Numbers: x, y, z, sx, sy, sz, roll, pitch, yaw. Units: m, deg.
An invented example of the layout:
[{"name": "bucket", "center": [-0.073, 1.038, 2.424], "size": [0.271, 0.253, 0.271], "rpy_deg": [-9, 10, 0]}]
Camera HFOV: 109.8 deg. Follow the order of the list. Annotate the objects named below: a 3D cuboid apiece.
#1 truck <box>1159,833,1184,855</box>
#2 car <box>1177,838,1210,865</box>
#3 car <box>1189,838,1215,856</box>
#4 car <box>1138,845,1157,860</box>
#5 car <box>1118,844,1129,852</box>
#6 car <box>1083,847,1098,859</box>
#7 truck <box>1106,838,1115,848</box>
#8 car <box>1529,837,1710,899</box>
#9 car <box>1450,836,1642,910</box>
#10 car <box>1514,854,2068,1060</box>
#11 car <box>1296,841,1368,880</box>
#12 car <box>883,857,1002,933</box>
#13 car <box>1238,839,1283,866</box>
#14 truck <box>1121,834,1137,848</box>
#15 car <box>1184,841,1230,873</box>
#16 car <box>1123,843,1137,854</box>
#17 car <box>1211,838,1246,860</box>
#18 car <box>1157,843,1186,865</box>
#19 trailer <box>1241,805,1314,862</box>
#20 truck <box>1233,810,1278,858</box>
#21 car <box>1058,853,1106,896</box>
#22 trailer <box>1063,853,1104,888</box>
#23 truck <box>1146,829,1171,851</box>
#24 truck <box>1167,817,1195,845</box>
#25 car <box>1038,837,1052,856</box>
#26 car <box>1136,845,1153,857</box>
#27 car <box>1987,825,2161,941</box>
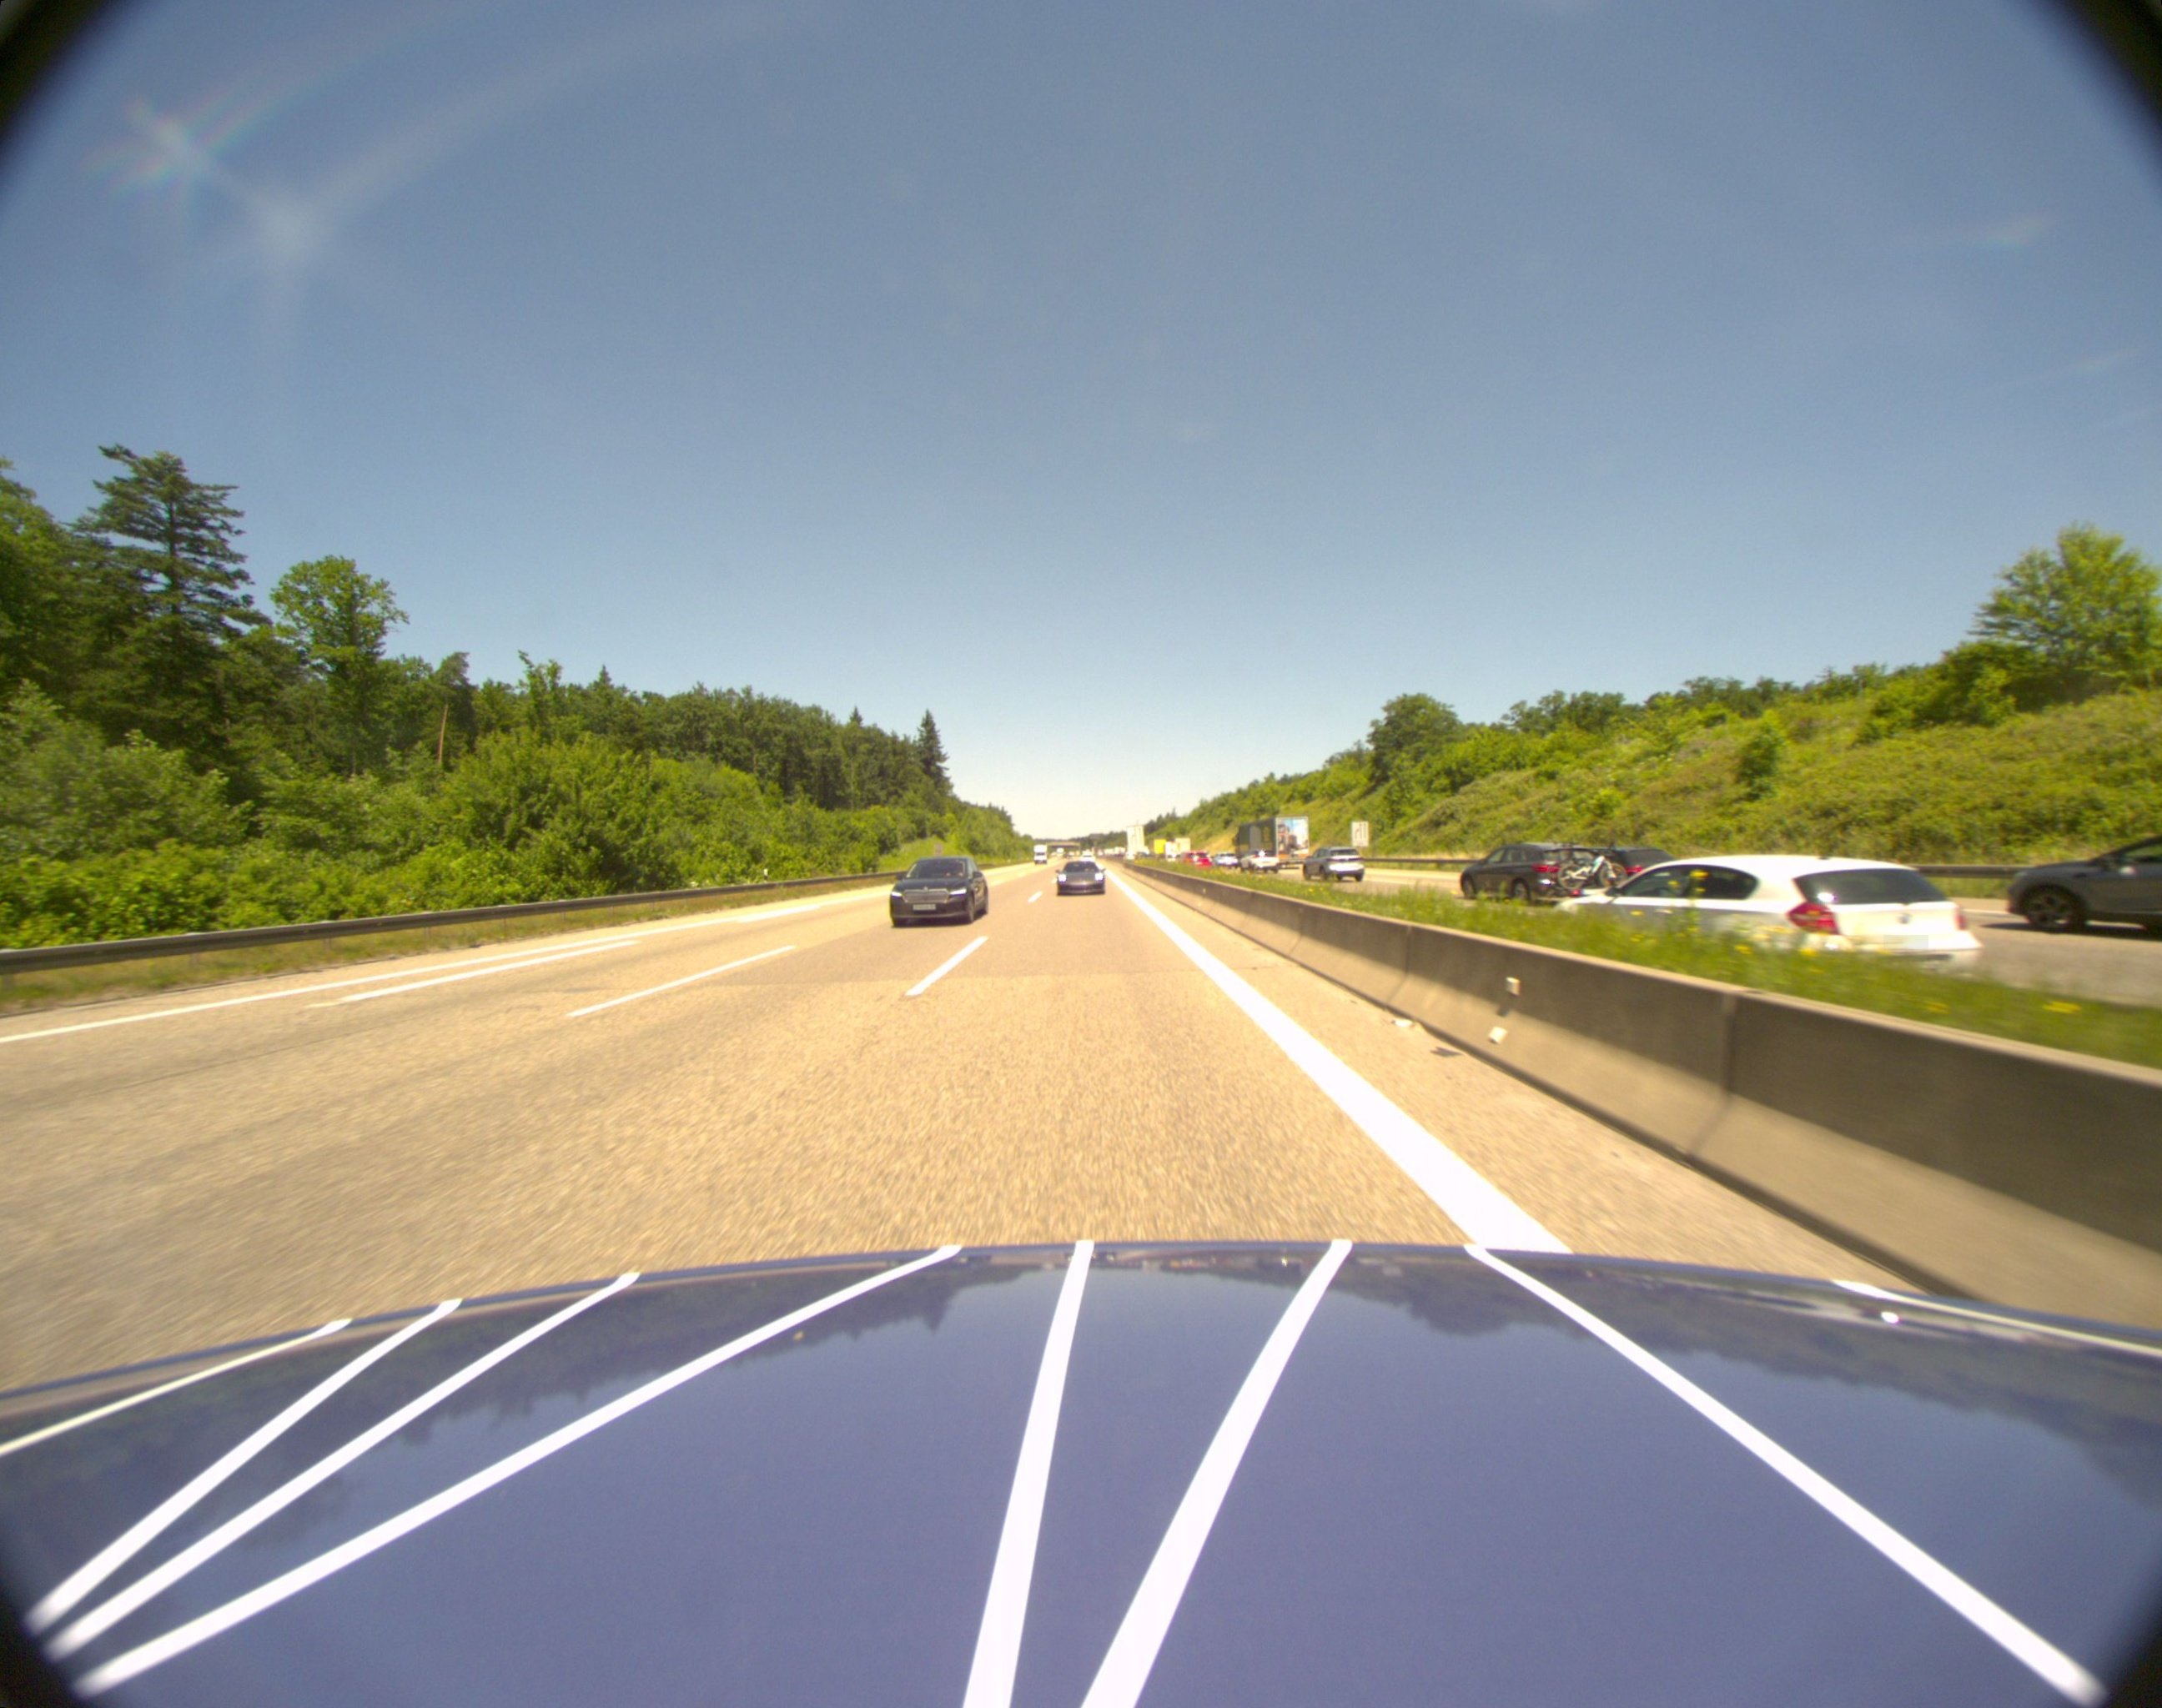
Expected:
[{"name": "truck", "center": [12.544, -1.404, 105.895], "size": [2.575, 2.829, 6.751], "rpy_deg": [-3, 1, 0]}, {"name": "car", "center": [8.909, -0.237, 60.238], "size": [1.998, 2.002, 3.999], "rpy_deg": [-2, 1, 1]}, {"name": "car", "center": [12.770, -0.815, 80.248], "size": [1.832, 1.754, 4.989], "rpy_deg": [-3, 1, -1]}, {"name": "car", "center": [8.270, -0.236, 94.974], "size": [1.832, 1.754, 4.989], "rpy_deg": [-3, 1, -1]}, {"name": "car", "center": [9.117, -1.305, 163.948], "size": [1.832, 1.754, 4.989], "rpy_deg": [-3, 1, -1]}, {"name": "car", "center": [1.177, -0.125, 97.225], "size": [1.719, 1.432, 4.456], "rpy_deg": [-2, 1, 0]}, {"name": "truck", "center": [8.856, -3.358, 228.350], "size": [2.273, 2.999, 6.776], "rpy_deg": [-3, 1, 2]}, {"name": "car", "center": [15.118, 0.308, 21.740], "size": [1.816, 1.504, 4.797], "rpy_deg": [-3, 1, 1]}, {"name": "car", "center": [11.943, 0.375, 20.071], "size": [1.816, 1.620, 5.380], "rpy_deg": [-3, 1, 1]}, {"name": "car", "center": [7.161, 0.845, 8.602], "size": [1.816, 1.504, 4.817], "rpy_deg": [-3, 1, 1]}, {"name": "car", "center": [11.856, 0.231, 36.236], "size": [1.816, 1.620, 4.907], "rpy_deg": [-3, 1, 1]}, {"name": "car", "center": [-3.321, 0.922, 19.225], "size": [1.989, 1.609, 4.458], "rpy_deg": [-3, 0, 2]}, {"name": "car", "center": [12.007, -0.116, 51.180], "size": [1.816, 1.620, 5.218], "rpy_deg": [-3, 1, 1]}, {"name": "truck", "center": [15.411, -4.267, 246.719], "size": [3.706, 4.431, 17.376], "rpy_deg": [-3, 1, 0]}, {"name": "car", "center": [7.720, 0.133, 46.961], "size": [1.832, 1.754, 4.989], "rpy_deg": [-3, 1, -1]}, {"name": "car", "center": [8.499, -0.991, 131.823], "size": [1.832, 1.754, 4.989], "rpy_deg": [-3, 1, -1]}, {"name": "car", "center": [12.431, -0.461, 64.387], "size": [1.832, 1.754, 4.989], "rpy_deg": [-3, 1, -1]}, {"name": "car", "center": [7.945, -0.018, 66.846], "size": [1.832, 1.754, 4.989], "rpy_deg": [-3, 1, -1]}, {"name": "trailer", "center": [16.146, -1.682, 63.675], "size": [2.850, 4.237, 12.784], "rpy_deg": [-3, 1, 1]}, {"name": "truck", "center": [16.276, -1.857, 71.138], "size": [2.826, 4.180, 5.628], "rpy_deg": [-3, 1, 1]}, {"name": "car", "center": [0.100, 0.766, 30.677], "size": [1.718, 1.432, 4.457], "rpy_deg": [-3, 1, 2]}, {"name": "trailer", "center": [0.133, 0.715, 33.973], "size": [1.689, 1.399, 3.046], "rpy_deg": [-2, 1, 1]}, {"name": "truck", "center": [16.898, -3.031, 166.139], "size": [3.706, 4.431, 16.671], "rpy_deg": [-3, 1, 1]}, {"name": "truck", "center": [17.130, -3.898, 131.062], "size": [3.002, 4.517, 13.922], "rpy_deg": [-3, 1, 1]}, {"name": "car", "center": [-6.475, -1.429, 137.262], "size": [2.303, 3.317, 7.620], "rpy_deg": [-3, 1, -1]}, {"name": "car", "center": [9.025, -0.450, 107.636], "size": [1.832, 1.556, 5.109], "rpy_deg": [-3, 1, -1]}, {"name": "car", "center": [15.528, 0.390, 9.975], "size": [1.816, 1.504, 4.599], "rpy_deg": [-3, 1, 1]}]
